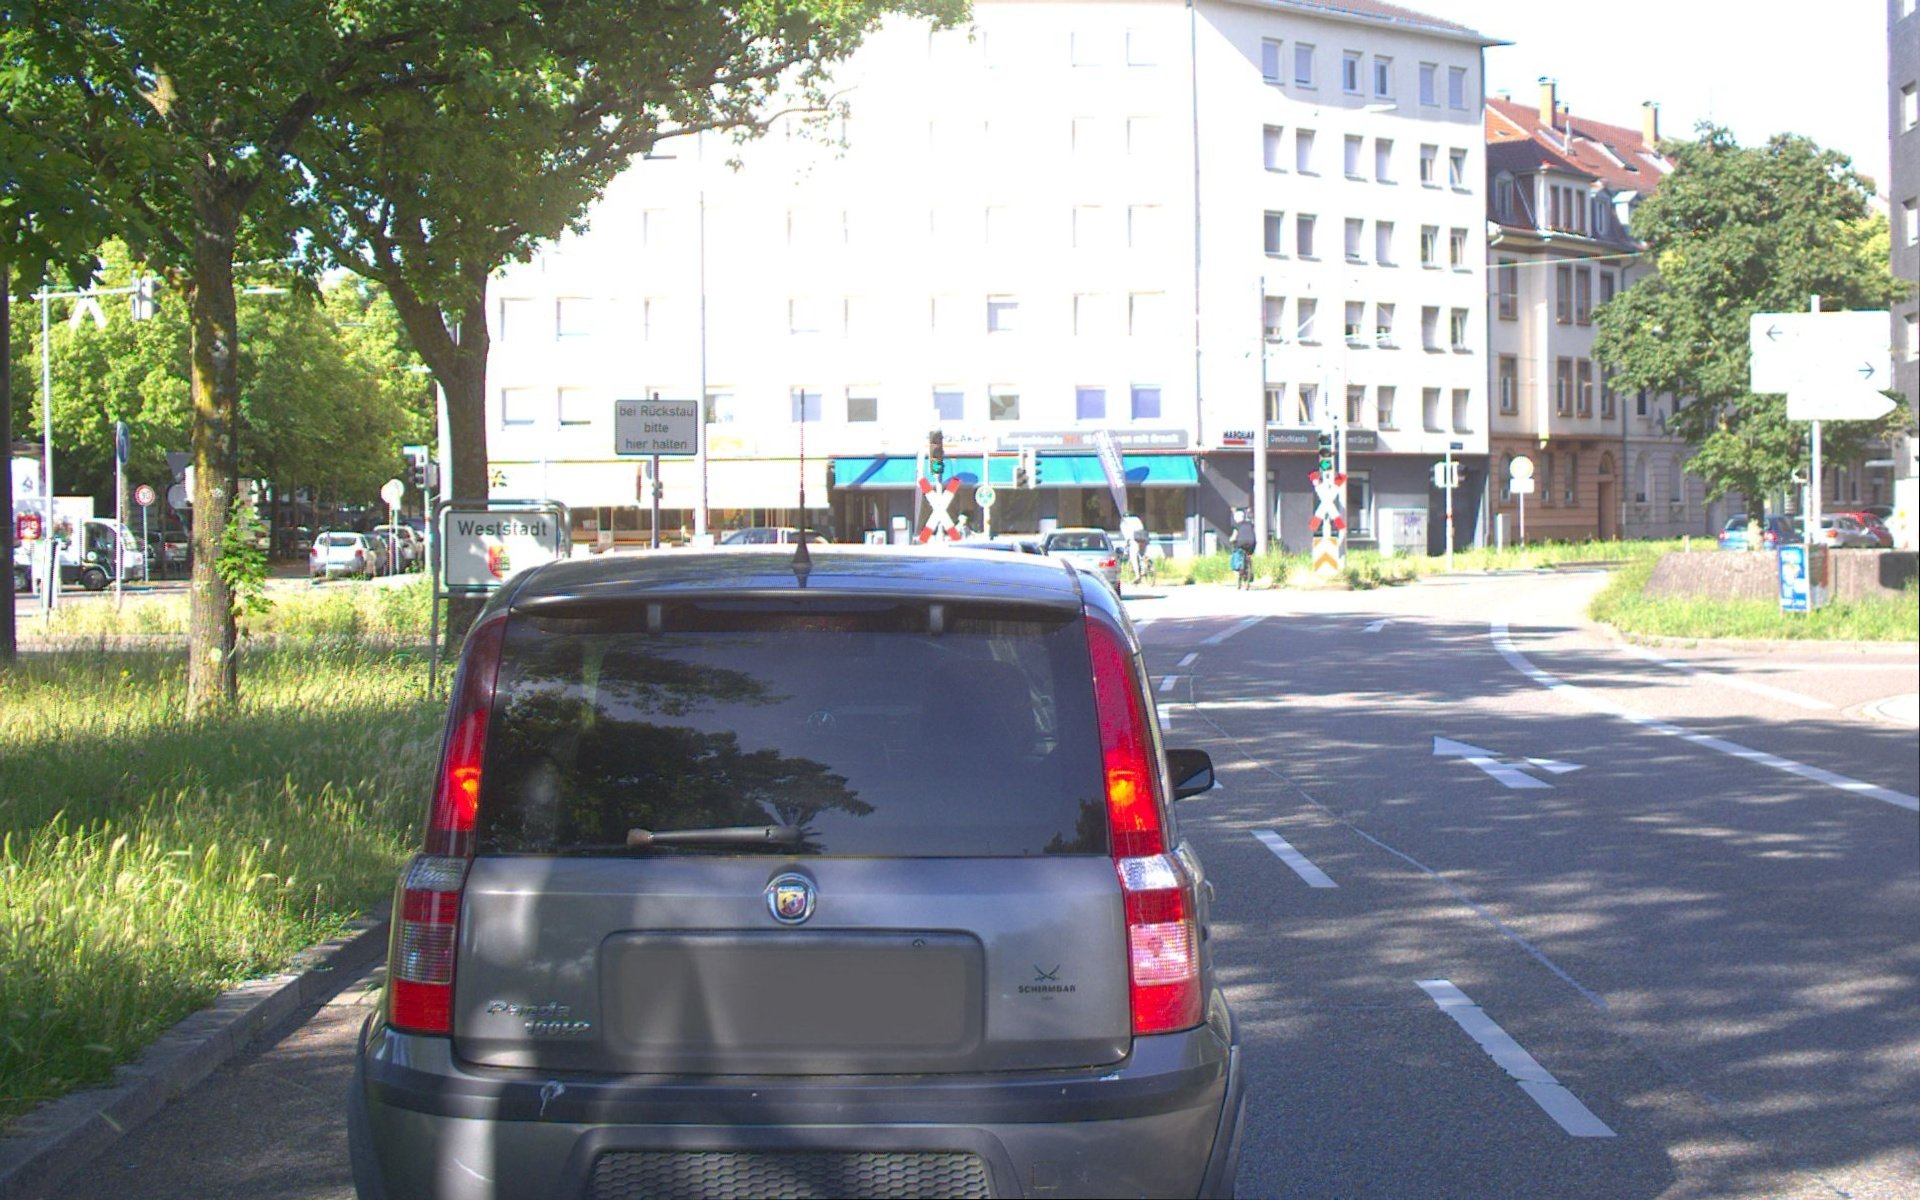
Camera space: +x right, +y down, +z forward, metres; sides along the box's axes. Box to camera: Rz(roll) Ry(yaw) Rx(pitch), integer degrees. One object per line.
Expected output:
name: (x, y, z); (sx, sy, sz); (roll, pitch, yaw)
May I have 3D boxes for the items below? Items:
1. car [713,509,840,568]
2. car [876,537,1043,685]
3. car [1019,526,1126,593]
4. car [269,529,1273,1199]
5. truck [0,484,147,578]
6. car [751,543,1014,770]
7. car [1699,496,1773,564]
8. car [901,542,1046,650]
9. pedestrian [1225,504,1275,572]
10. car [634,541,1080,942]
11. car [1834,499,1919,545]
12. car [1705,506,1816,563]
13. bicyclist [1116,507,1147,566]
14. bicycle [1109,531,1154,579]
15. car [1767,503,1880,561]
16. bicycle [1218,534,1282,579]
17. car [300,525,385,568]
car: (-4.808, -1.606, 89.621); (1.657, 1.496, 3.593); (-2, 2, -35)
car: (0.025, 0.076, 35.707); (1.646, 1.433, 3.396); (0, 1, 1)
car: (2.170, -0.812, 67.050); (1.993, 1.238, 4.000); (0, 1, 1)
car: (-0.282, 0.618, 7.338); (1.660, 1.505, 3.251); (0, 1, 1)
truck: (-23.558, -1.807, 90.176); (4.096, 2.418, 1.794); (0, 1, -3)
car: (-0.598, 0.343, 25.357); (1.760, 1.481, 4.294); (-1, 1, -2)
car: (23.951, -2.147, 106.033); (1.995, 2.007, 3.997); (1, 1, 16)
car: (0.206, -0.081, 42.956); (1.690, 1.249, 3.626); (0, 1, 2)
pedestrian: (6.148, -1.313, 72.981); (0.773, 1.423, 0.939); (1, 0, -14)
car: (-0.397, 0.490, 14.469); (1.621, 1.424, 3.688); (-1, 1, -1)
car: (32.598, -2.752, 121.000); (1.904, 1.588, 4.001); (-1, 2, -13)
car: (21.057, -1.740, 90.374); (1.778, 1.437, 3.612); (1, 2, 32)
bicyclist: (3.977, -1.478, 79.829); (0.530, 1.352, 0.598); (-1, 1, -17)
bicycle: (3.973, -1.056, 79.850); (0.530, 1.086, 1.586); (-1, 1, -17)
car: (23.755, -1.886, 94.500); (1.823, 1.503, 3.993); (0, 2, 33)
bicycle: (6.149, -0.925, 72.960); (0.782, 0.948, 1.857); (1, 1, -14)
car: (-19.401, -1.696, 108.158); (1.993, 1.305, 4.000); (-1, 1, -1)
